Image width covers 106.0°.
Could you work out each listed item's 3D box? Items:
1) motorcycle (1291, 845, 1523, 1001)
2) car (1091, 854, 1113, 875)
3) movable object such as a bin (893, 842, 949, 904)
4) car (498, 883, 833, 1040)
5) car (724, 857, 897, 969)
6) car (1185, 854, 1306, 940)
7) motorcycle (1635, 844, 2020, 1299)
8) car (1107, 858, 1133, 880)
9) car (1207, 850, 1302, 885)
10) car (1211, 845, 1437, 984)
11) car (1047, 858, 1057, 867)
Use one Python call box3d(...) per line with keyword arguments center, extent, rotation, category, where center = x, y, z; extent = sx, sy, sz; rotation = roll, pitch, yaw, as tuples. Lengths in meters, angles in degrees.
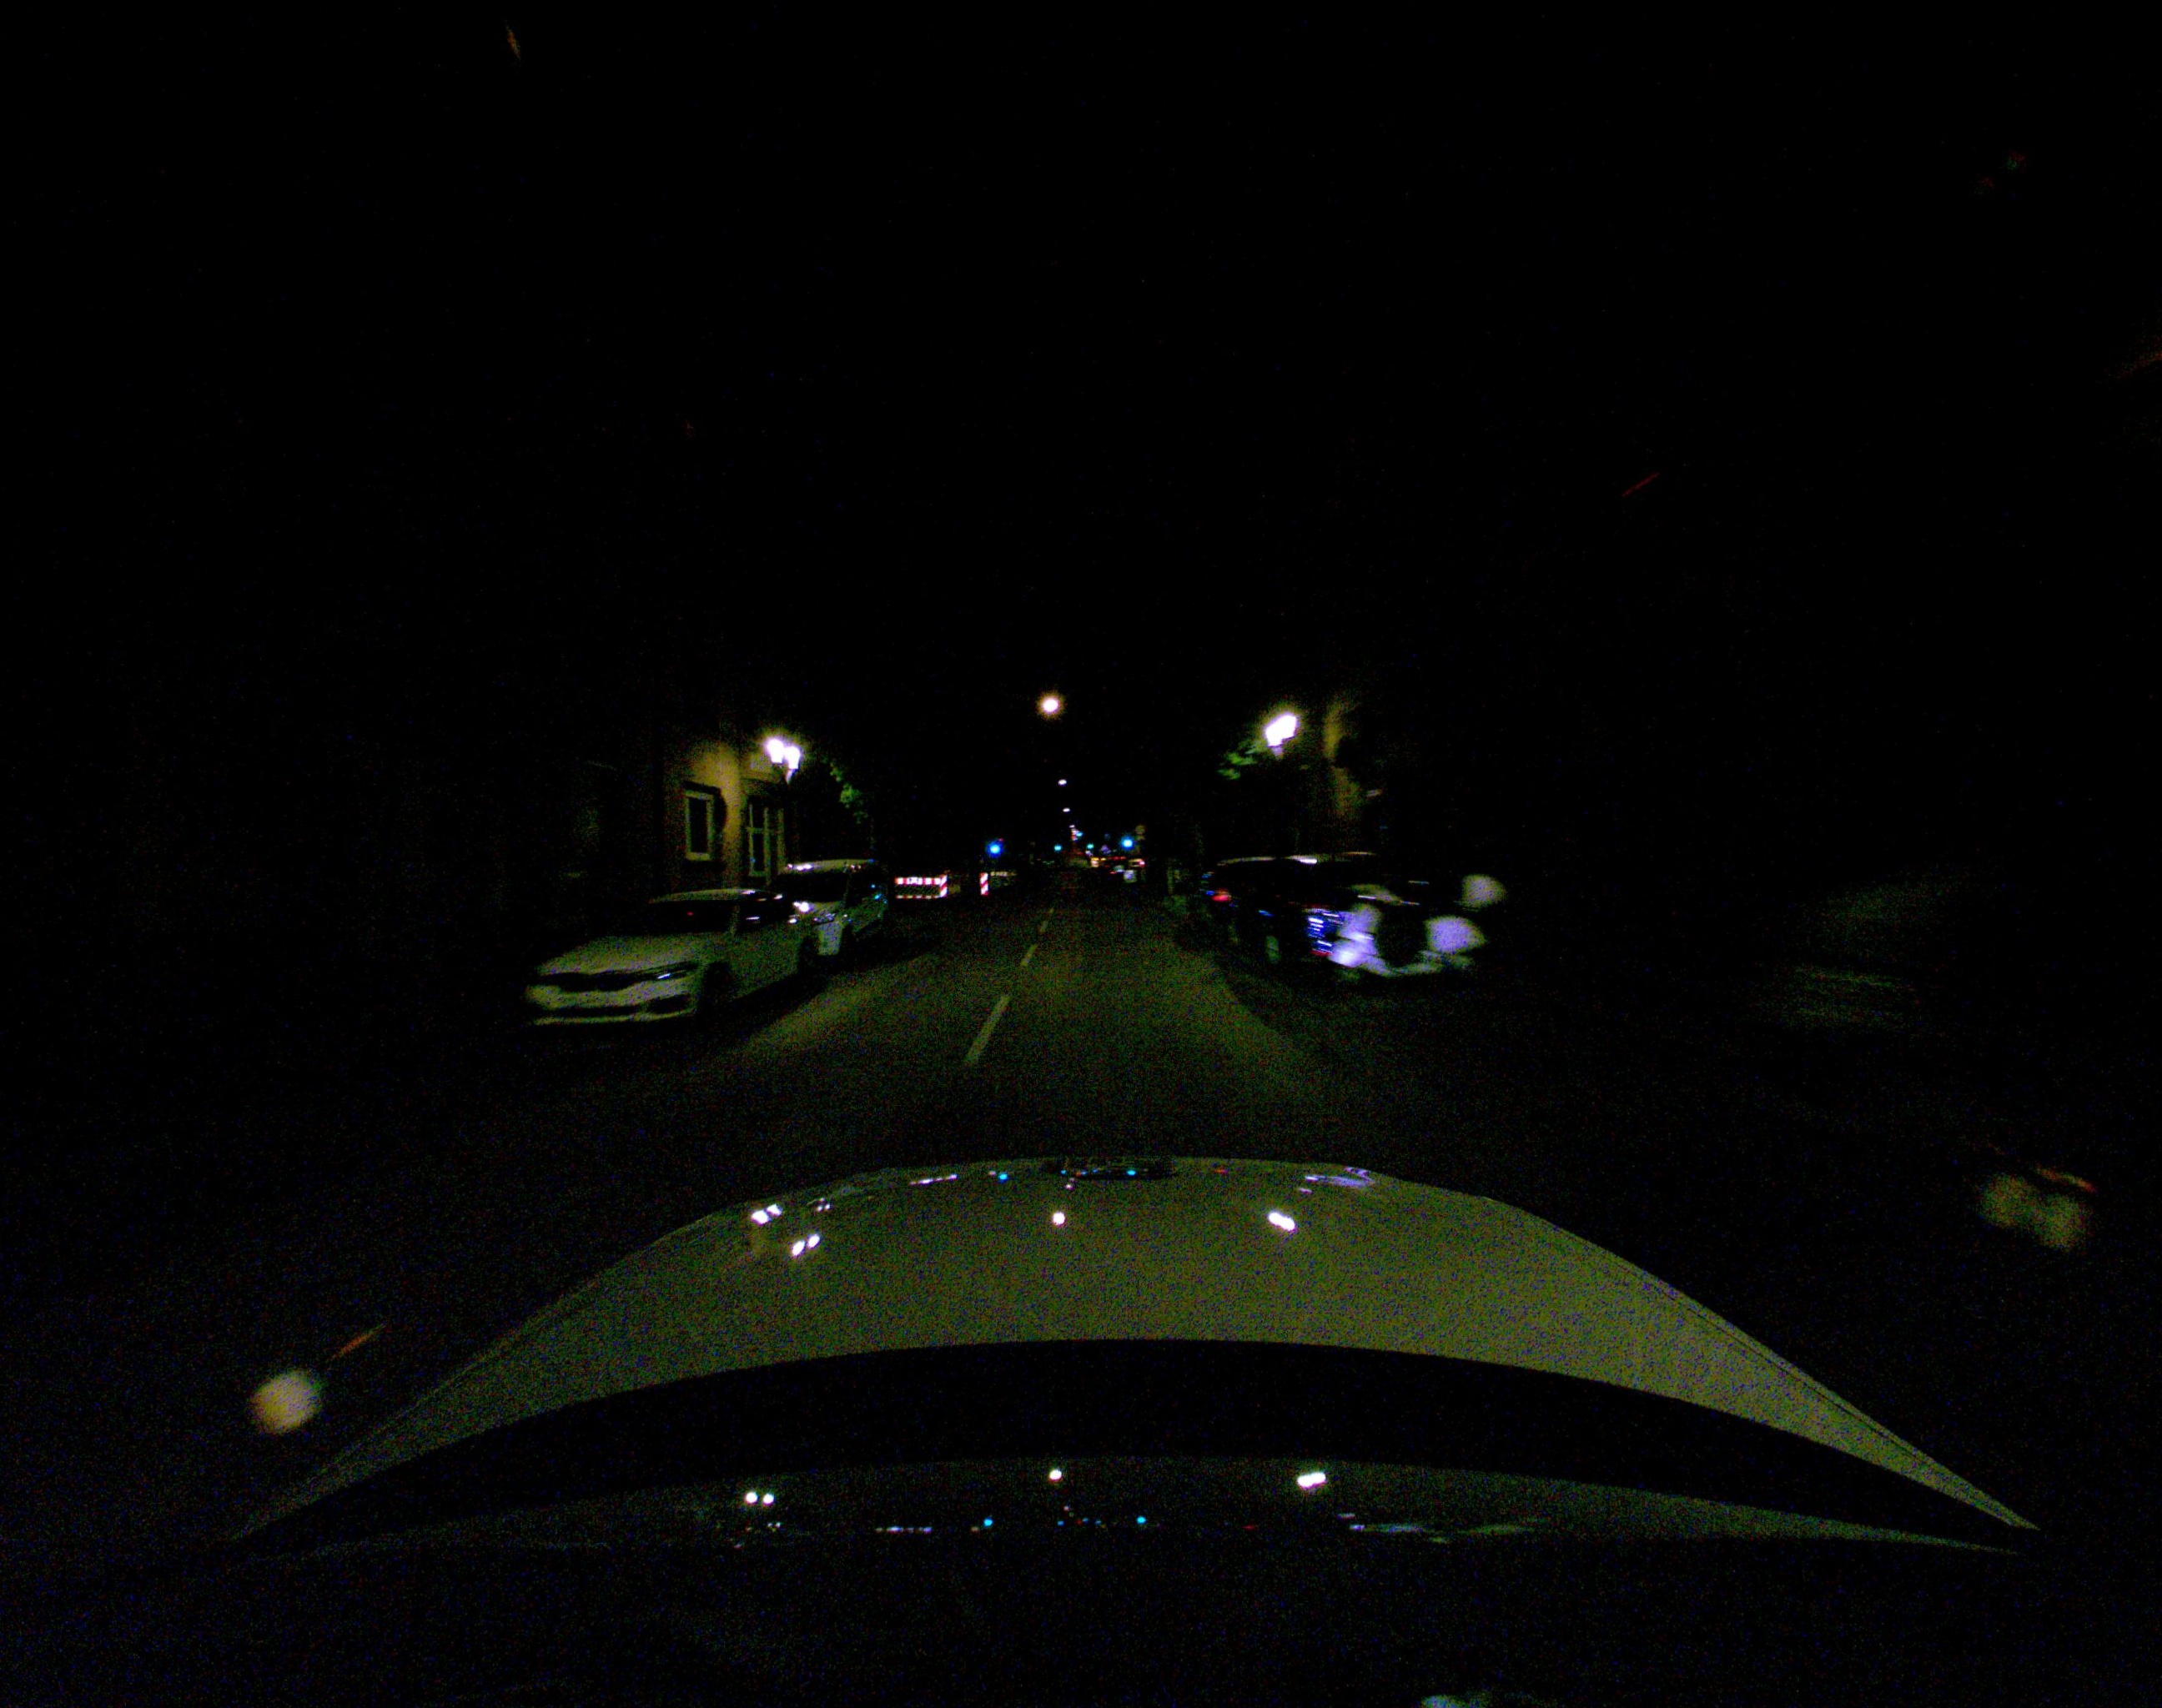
box3d(center=(3.458, 0.688, 8.738), extent=(2.053, 1.406, 0.921), rotation=(-4, 0, -10), category="motorcycle")
box3d(center=(1.887, 0.964, 75.684), extent=(1.731, 1.855, 4.313), rotation=(-3, 0, -2), category="car")
box3d(center=(-7.259, 0.841, 37.339), extent=(1.566, 2.626, 3.910), rotation=(-4, 0, 1), category="movable object such as a bin")
box3d(center=(-5.017, 1.188, 10.802), extent=(1.832, 1.450, 4.881), rotation=(-2, -1, 1), category="car")
box3d(center=(-5.220, 1.033, 16.473), extent=(1.877, 1.843, 4.812), rotation=(-2, 0, -1), category="car")
box3d(center=(3.200, 0.782, 16.598), extent=(1.730, 1.454, 4.002), rotation=(-3, -1, 2), category="car")
box3d(center=(3.197, 0.684, 3.421), extent=(1.953, 1.353, 0.754), rotation=(-3, -1, -36), category="motorcycle")
box3d(center=(3.066, 1.161, 64.674), extent=(1.734, 1.477, 4.000), rotation=(-5, 0, 0), category="car")
box3d(center=(8.129, 0.648, 38.414), extent=(4.004, 1.422, 1.850), rotation=(-3, -2, -2), category="car")
box3d(center=(3.144, 0.722, 11.573), extent=(1.727, 1.501, 4.464), rotation=(-3, -1, -1), category="car")
box3d(center=(-5.107, 1.417, 142.880), extent=(1.666, 1.443, 4.204), rotation=(-3, 0, 0), category="car")
